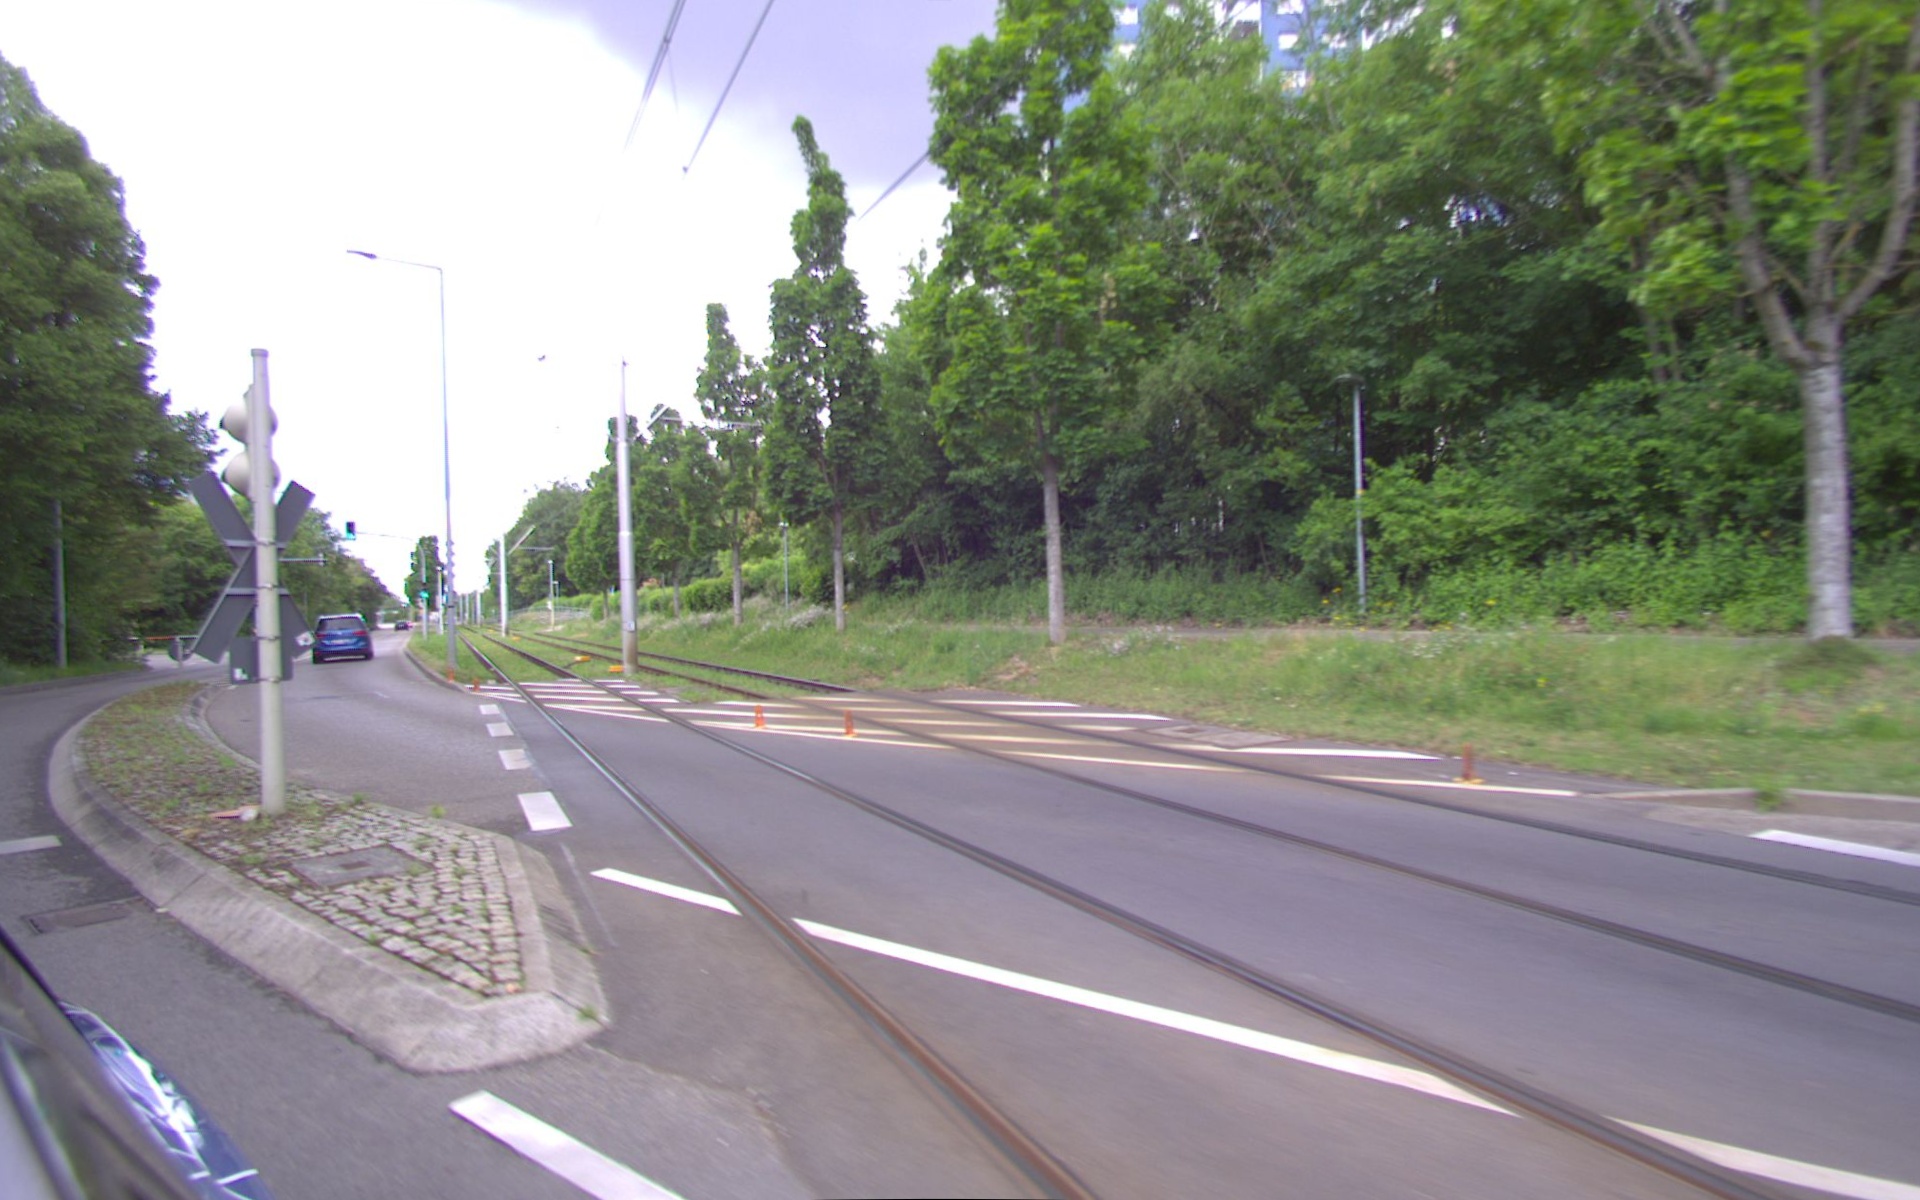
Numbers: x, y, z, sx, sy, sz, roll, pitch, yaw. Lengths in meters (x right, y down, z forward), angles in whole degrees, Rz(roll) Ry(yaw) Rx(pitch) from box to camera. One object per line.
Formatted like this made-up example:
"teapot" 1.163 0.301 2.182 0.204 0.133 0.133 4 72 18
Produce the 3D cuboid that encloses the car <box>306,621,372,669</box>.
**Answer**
"car" -21.936 1.575 35.784 1.842 1.532 4.250 -2 -1 -32
